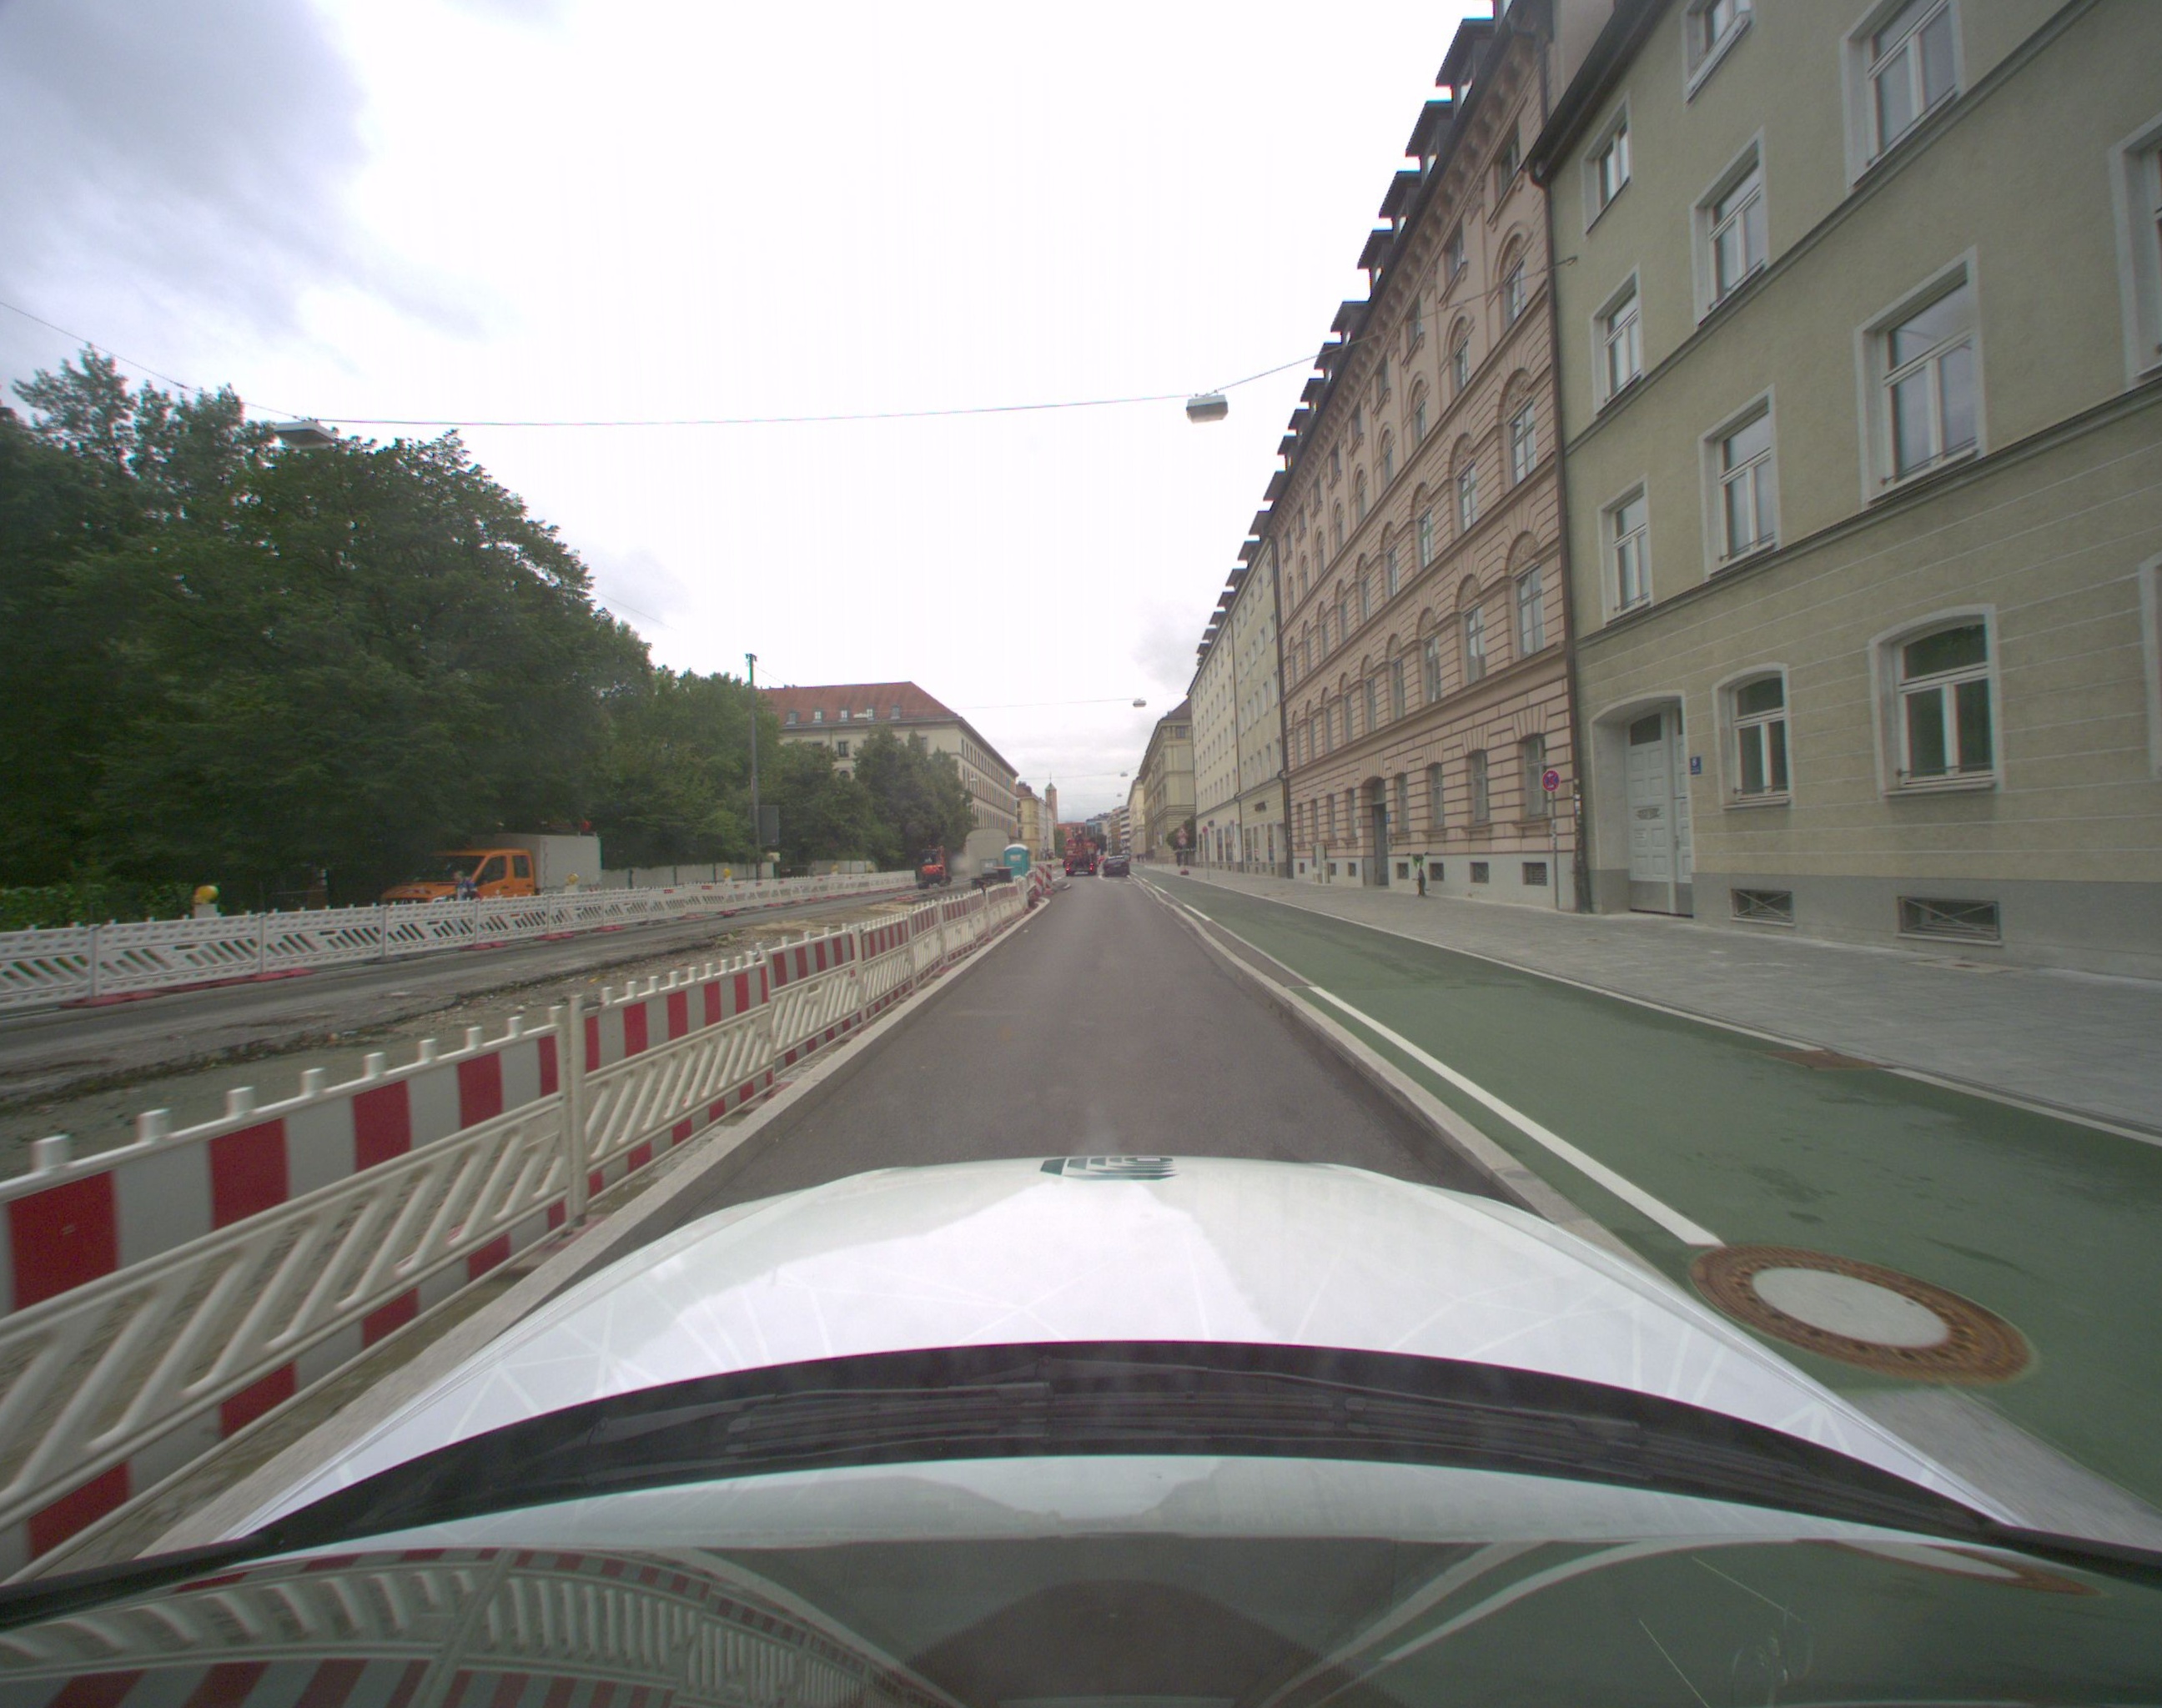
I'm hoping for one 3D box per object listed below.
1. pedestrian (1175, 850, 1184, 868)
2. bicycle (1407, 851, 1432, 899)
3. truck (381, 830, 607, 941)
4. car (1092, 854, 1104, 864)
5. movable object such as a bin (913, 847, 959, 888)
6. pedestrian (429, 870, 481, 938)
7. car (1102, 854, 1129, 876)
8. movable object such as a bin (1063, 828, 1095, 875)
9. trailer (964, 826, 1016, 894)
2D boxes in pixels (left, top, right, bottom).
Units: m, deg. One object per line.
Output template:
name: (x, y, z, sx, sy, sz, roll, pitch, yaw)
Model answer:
pedestrian: (10.602, 0.517, 87.888, 0.787, 1.836, 0.777, -3, 0, 2)
bicycle: (8.945, 0.528, 21.539, 0.422, 1.174, 1.740, -3, 0, 19)
truck: (-16.532, 0.779, 23.487, 1.986, 2.728, 5.874, -2, 0, 2)
car: (2.488, 0.737, 119.930, 1.604, 1.495, 3.425, -2, 0, 1)
movable object such as a bin: (-9.516, 0.836, 53.759, 1.916, 2.572, 4.496, -2, 0, 3)
pedestrian: (-15.334, 1.209, 19.960, 0.660, 1.603, 0.698, -2, 0, 2)
car: (2.565, 0.784, 61.028, 1.796, 1.480, 4.687, -3, 0, 1)
movable object such as a bin: (-0.100, -0.208, 67.815, 2.415, 3.611, 5.851, -2, 0, 0)
trailer: (-4.775, 0.288, 43.950, 2.222, 3.243, 7.510, -3, 0, -3)
